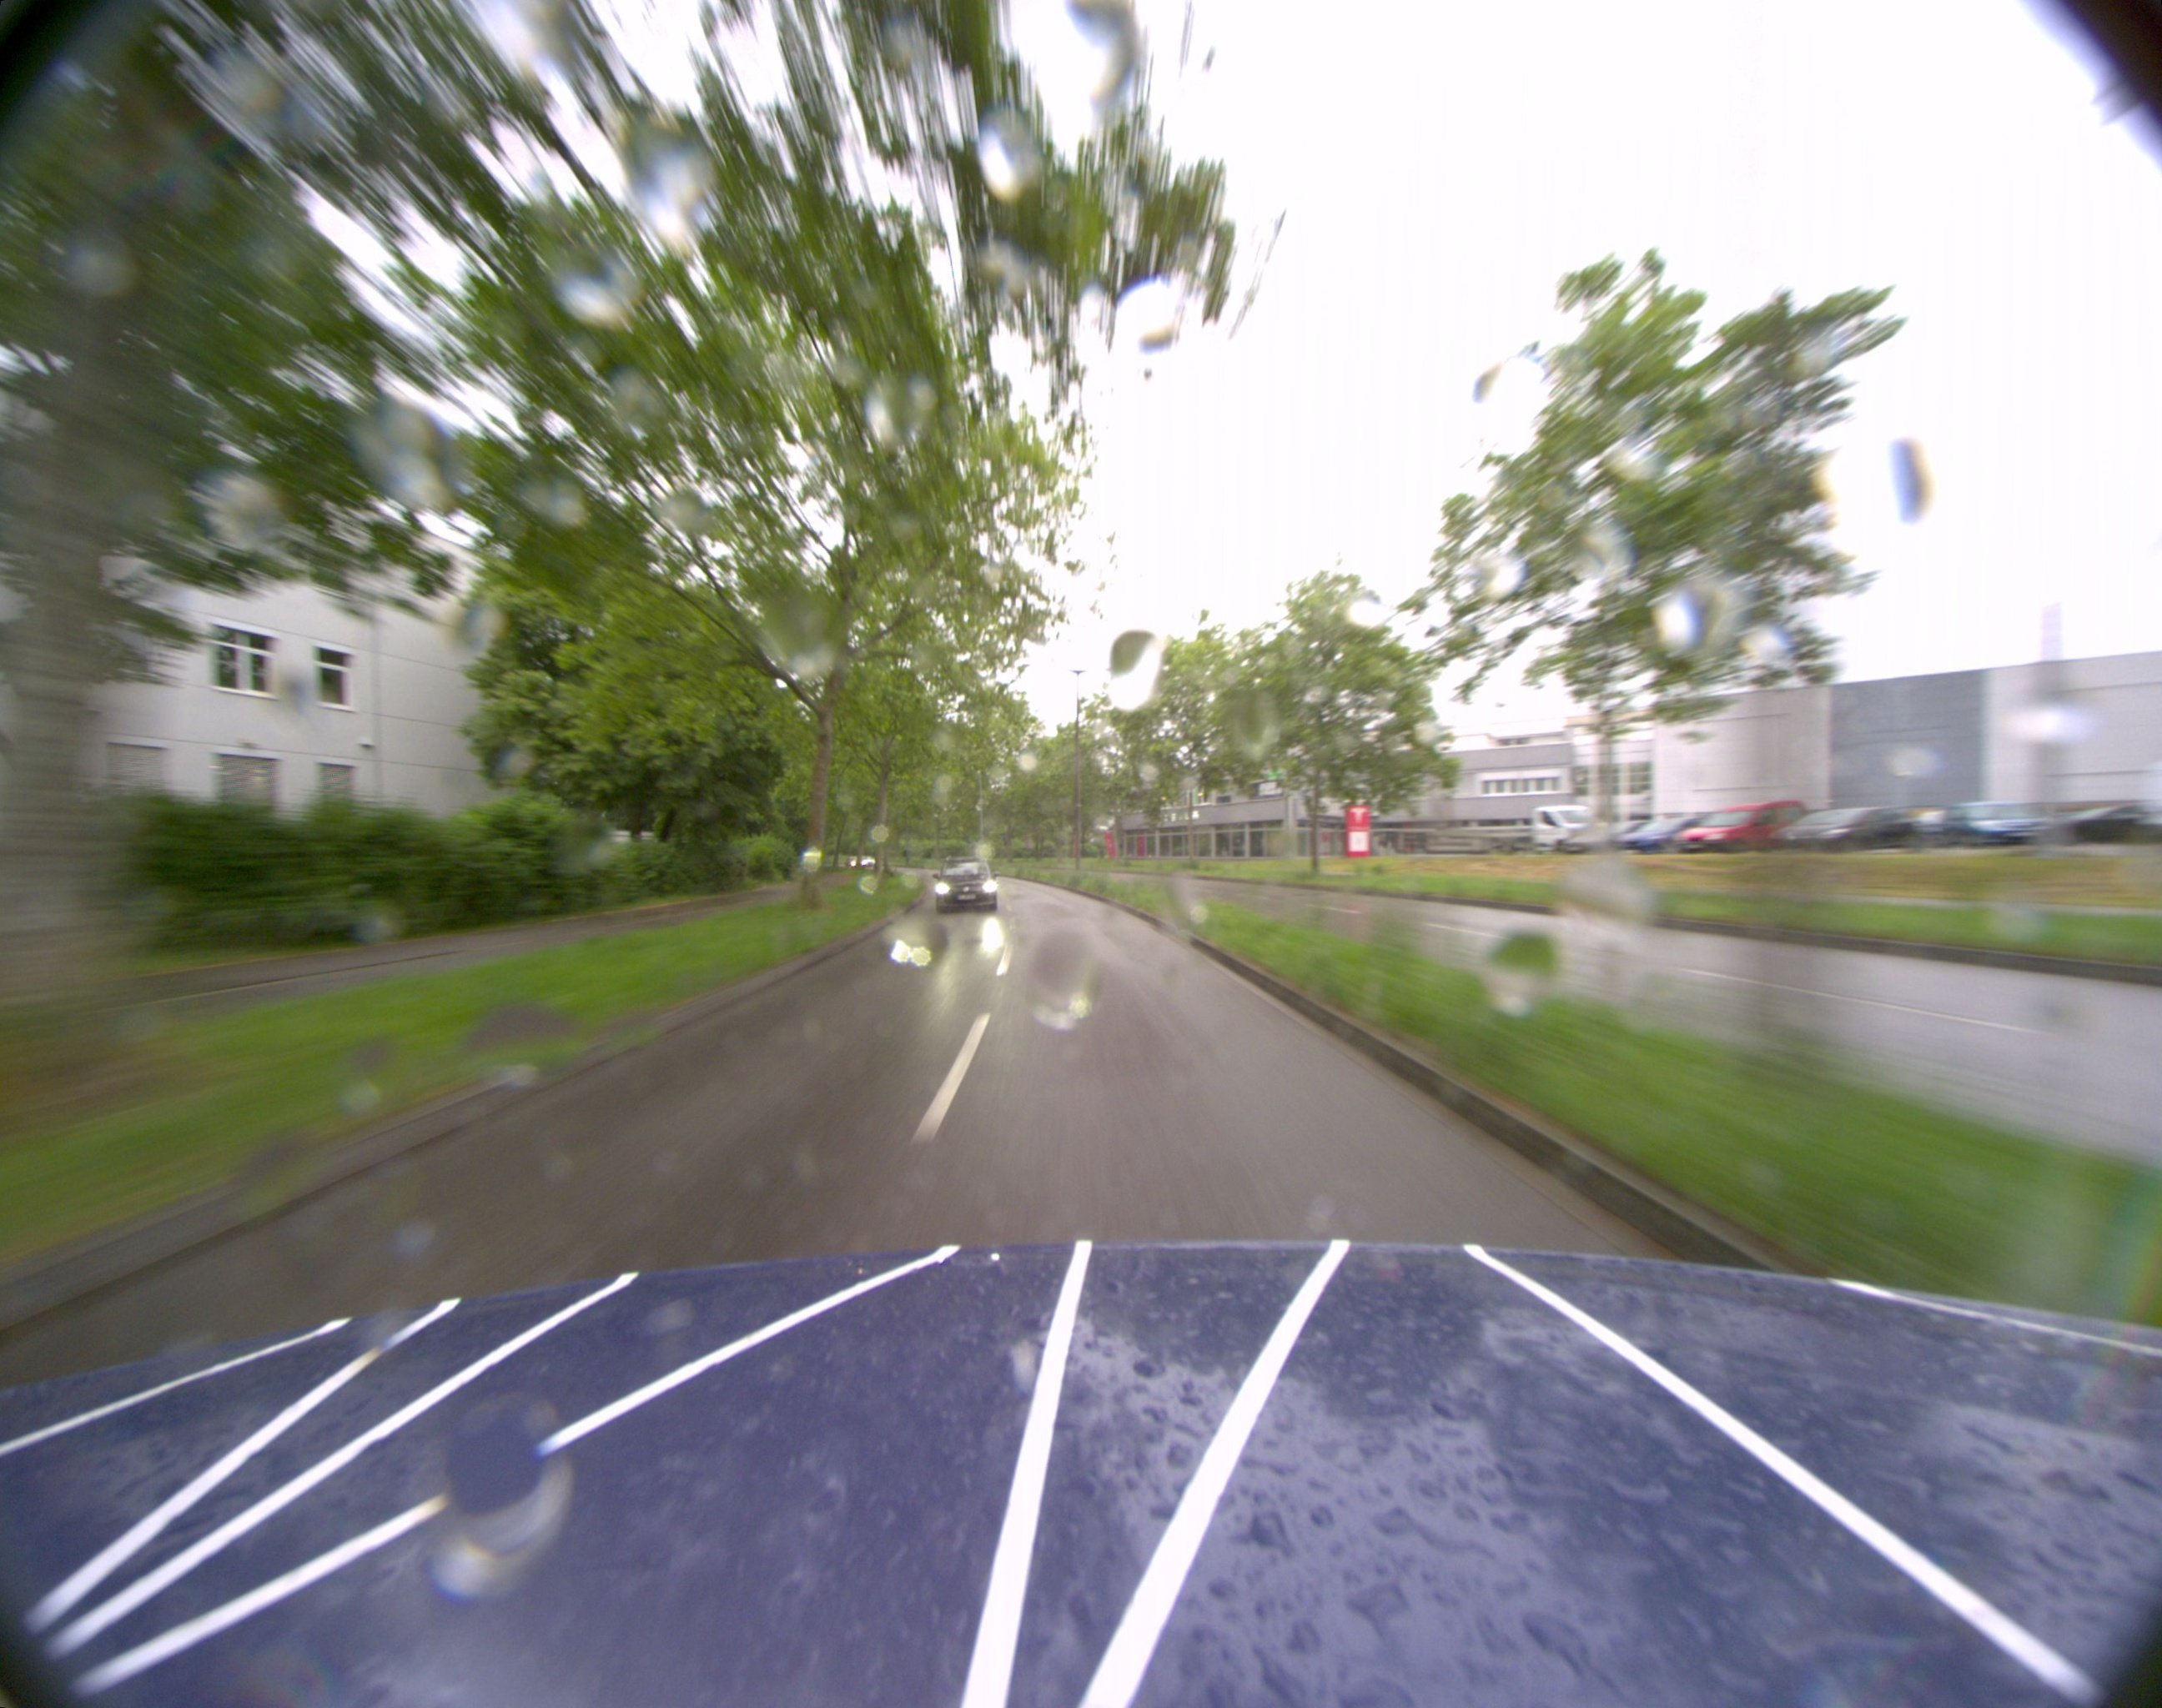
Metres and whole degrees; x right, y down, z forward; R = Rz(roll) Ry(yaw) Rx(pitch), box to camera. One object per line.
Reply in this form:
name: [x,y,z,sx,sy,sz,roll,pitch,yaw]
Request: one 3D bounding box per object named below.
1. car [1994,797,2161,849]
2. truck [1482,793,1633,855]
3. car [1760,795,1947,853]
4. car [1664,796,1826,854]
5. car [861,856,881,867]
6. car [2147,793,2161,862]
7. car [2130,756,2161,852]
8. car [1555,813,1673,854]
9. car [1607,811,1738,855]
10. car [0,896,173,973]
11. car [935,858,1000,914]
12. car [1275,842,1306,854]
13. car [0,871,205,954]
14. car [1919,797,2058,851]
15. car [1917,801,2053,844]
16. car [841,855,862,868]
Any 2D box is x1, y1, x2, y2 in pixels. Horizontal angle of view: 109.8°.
car: [38.569,-1.181,28.850,4.641,1.754,1.824,-2,1,33]
truck: [21.443,-1.241,34.666,2.254,2.331,6.190,-4,0,-8]
car: [22.778,-0.879,22.481,4.008,1.349,1.846,-4,0,-9]
car: [21.965,-0.938,25.218,4.008,1.548,1.846,-4,0,-9]
car: [-28.617,1.008,103.445,1.788,1.546,3.991,-2,1,-29]
car: [23.710,-0.684,15.378,4.013,1.349,1.844,-4,0,-27]
car: [33.429,-1.536,20.644,5.324,2.736,2.175,-2,1,33]
car: [21.117,-0.805,30.147,3.534,1.319,1.767,-4,0,-9]
car: [21.496,-0.748,27.683,3.534,1.319,1.767,-4,0,-9]
car: [-23.672,1.816,16.840,1.781,1.467,4.117,-1,1,17]
car: [-3.478,0.921,23.851,1.785,1.546,3.998,-1,1,-5]
car: [31.712,-0.928,114.929,4.200,1.803,1.818,-1,1,5]
car: [-21.136,1.167,15.337,1.781,1.467,4.117,-1,1,17]
car: [33.332,-1.105,28.102,1.816,1.754,4.662,-2,1,30]
car: [42.083,-1.428,35.530,1.766,1.718,4.160,-3,-1,9]
car: [-28.814,0.950,95.337,1.788,1.546,3.991,-1,1,-27]
